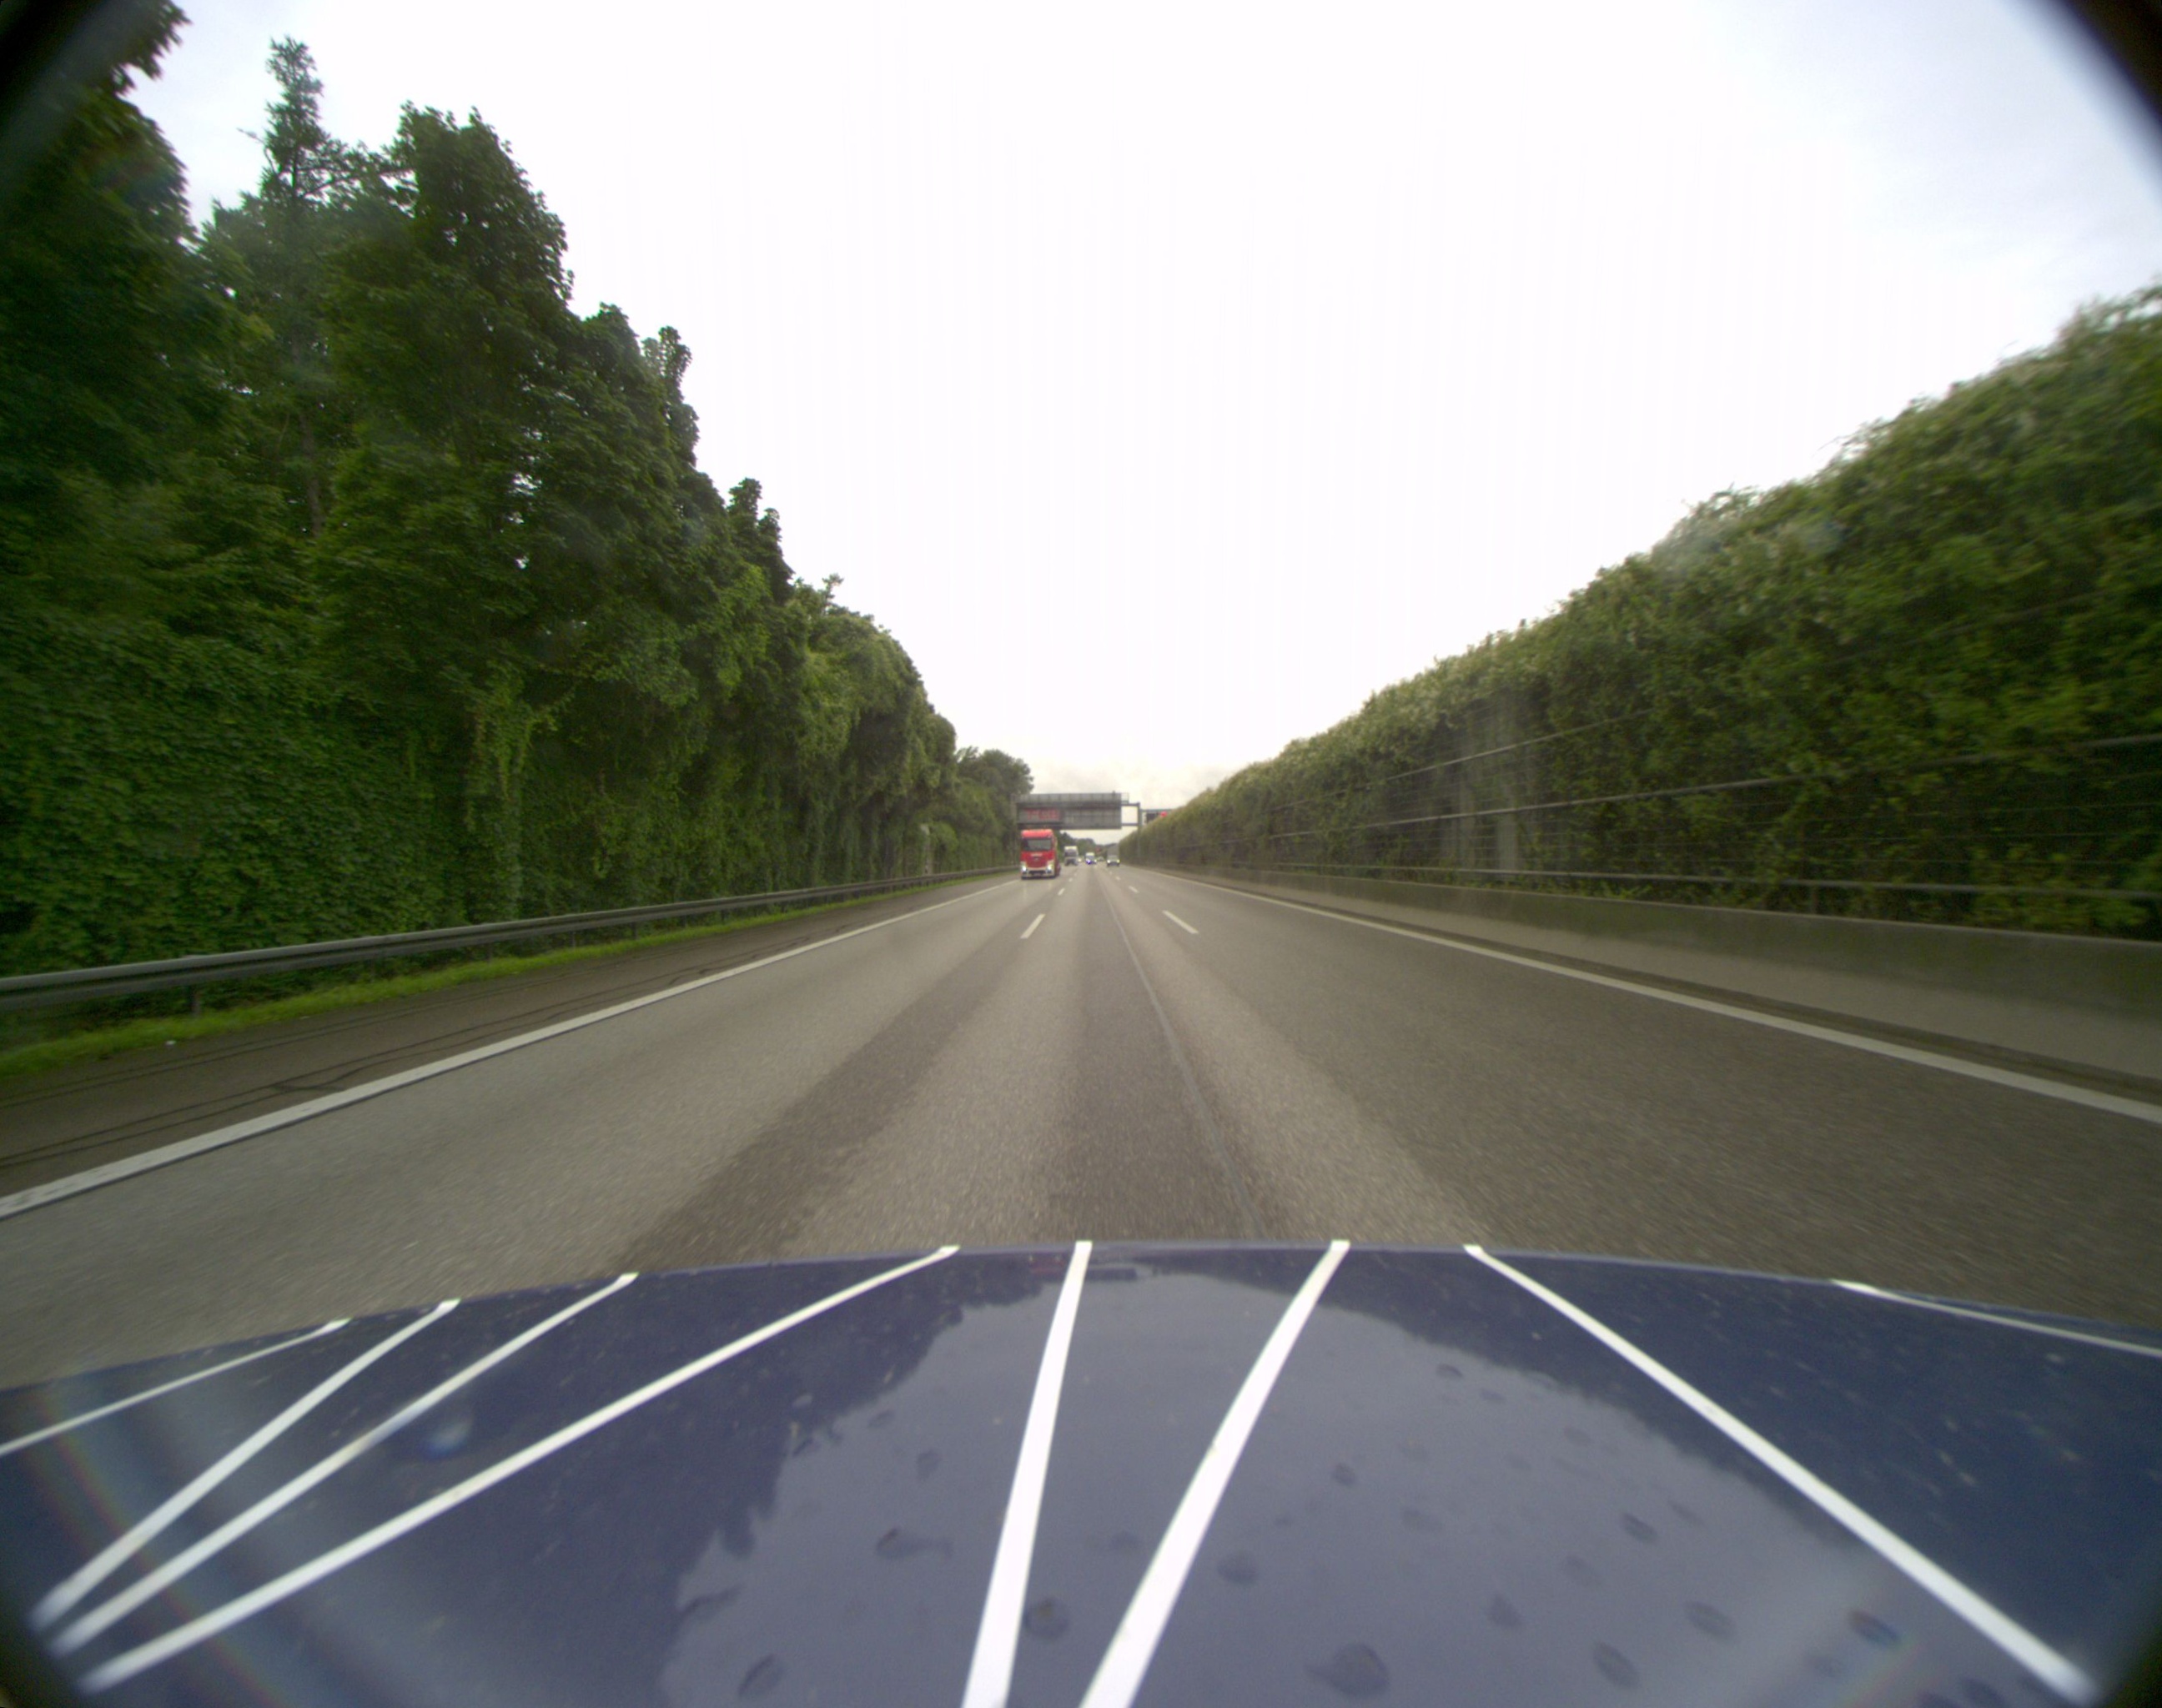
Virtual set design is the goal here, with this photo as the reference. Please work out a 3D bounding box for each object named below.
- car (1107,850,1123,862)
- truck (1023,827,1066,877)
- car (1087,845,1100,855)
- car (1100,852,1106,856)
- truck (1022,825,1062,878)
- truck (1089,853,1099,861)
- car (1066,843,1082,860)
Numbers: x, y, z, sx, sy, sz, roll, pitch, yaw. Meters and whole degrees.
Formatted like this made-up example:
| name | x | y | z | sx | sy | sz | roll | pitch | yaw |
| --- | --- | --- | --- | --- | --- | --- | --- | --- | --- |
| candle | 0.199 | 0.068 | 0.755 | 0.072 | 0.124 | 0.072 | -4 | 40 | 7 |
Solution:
| name | x | y | z | sx | sy | sz | roll | pitch | yaw |
| --- | --- | --- | --- | --- | --- | --- | --- | --- | --- |
| car | 5.133 | 0.308 | 115.352 | 2.023 | 1.595 | 5.439 | -4 | 1 | 1 |
| truck | -2.879 | -0.281 | 62.871 | 2.708 | 3.691 | 9.839 | -2 | 2 | 1 |
| car | 2.873 | -0.956 | 177.100 | 2.769 | 2.227 | 6.546 | -2 | 1 | 1 |
| car | 7.386 | 0.059 | 253.053 | 1.751 | 1.368 | 4.000 | -2 | 0 | 1 |
| truck | -2.919 | -0.216 | 57.992 | 2.709 | 3.809 | 4.197 | -2 | 2 | 0 |
| truck | 2.708 | 0.643 | 156.948 | 1.825 | 1.535 | 3.999 | -3 | 2 | 2 |
| car | -1.354 | -0.560 | 152.081 | 3.039 | 3.278 | 6.733 | -2 | 1 | 1 |
